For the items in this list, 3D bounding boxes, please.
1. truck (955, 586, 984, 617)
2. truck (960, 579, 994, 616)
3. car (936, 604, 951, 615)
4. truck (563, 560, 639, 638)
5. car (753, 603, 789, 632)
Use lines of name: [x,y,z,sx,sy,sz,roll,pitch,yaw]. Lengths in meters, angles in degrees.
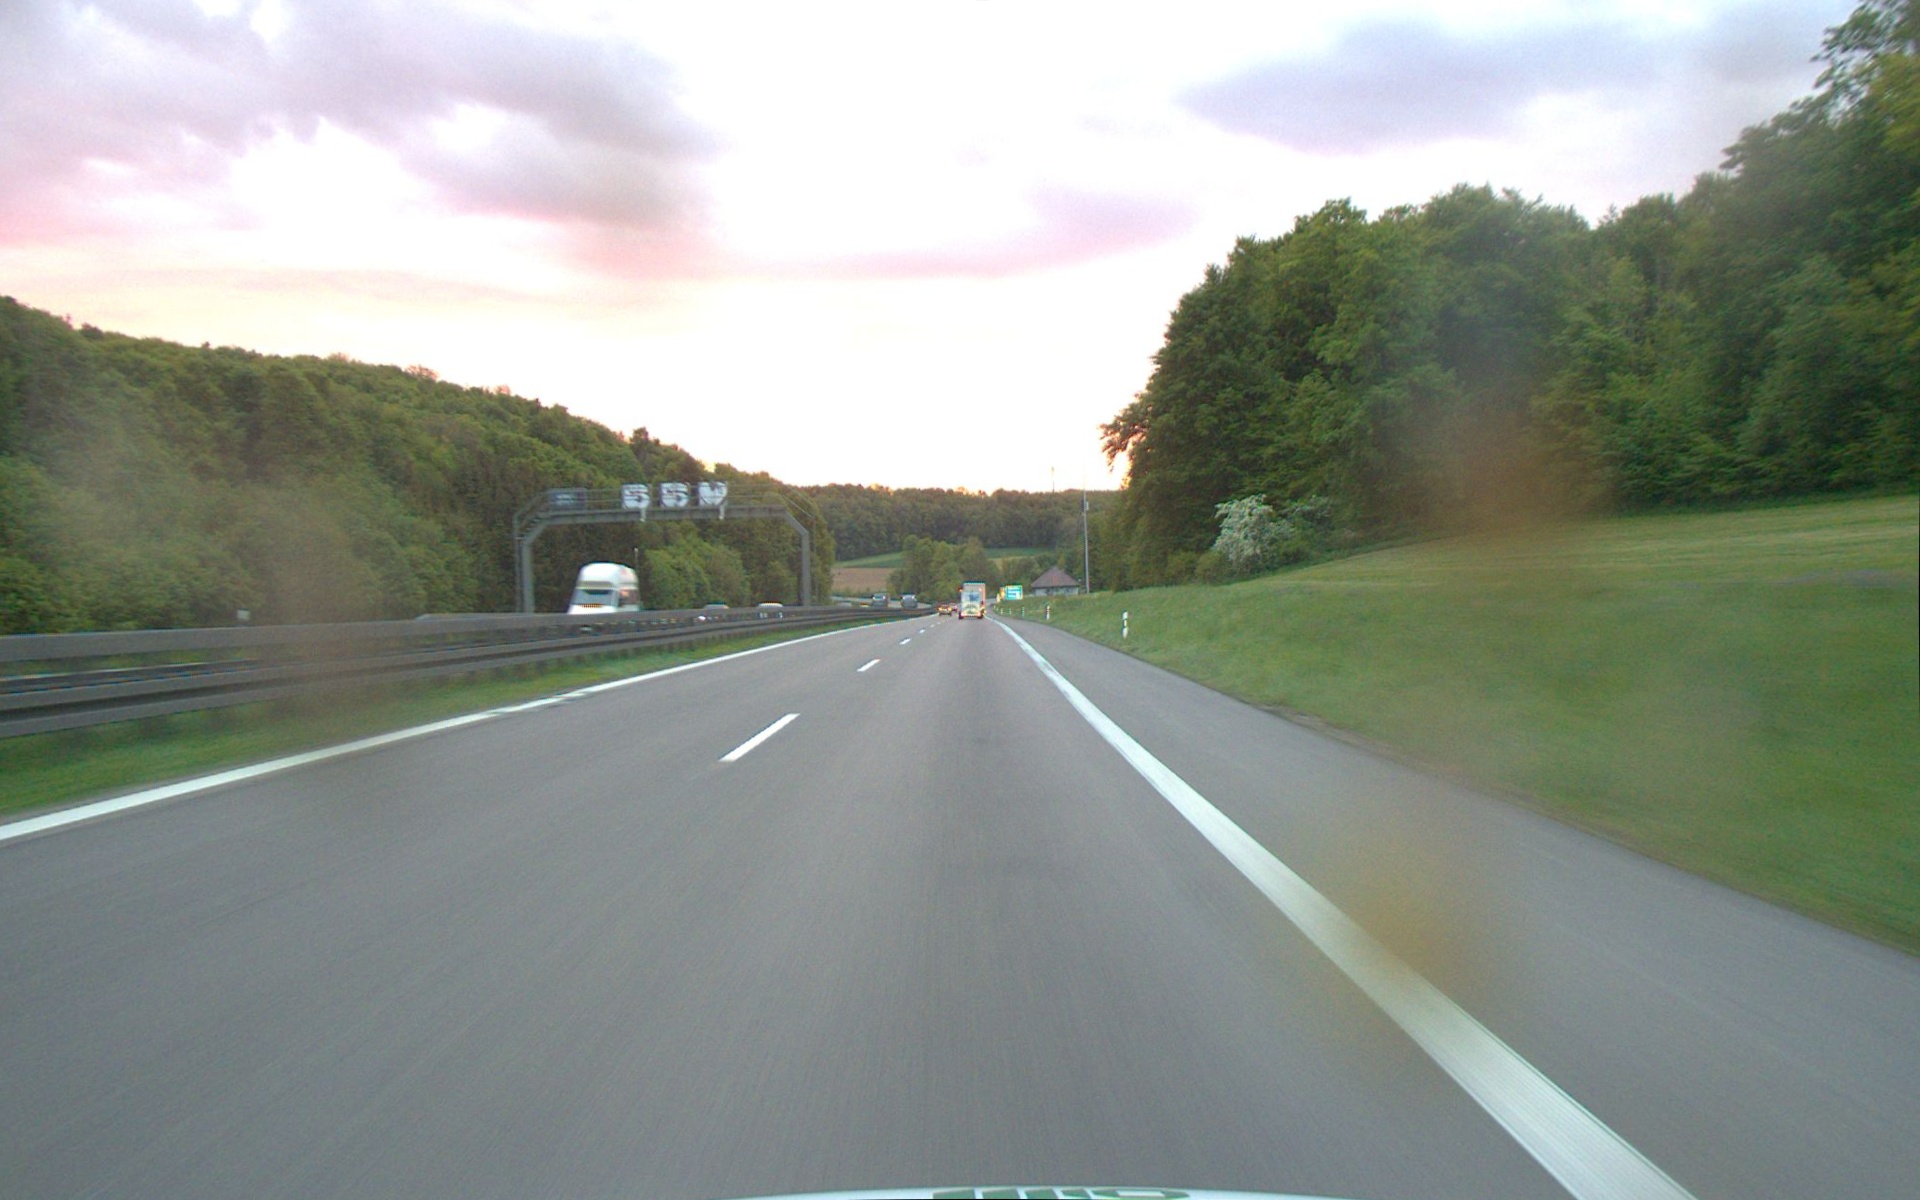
truck: [0.912,0.089,153.420,2.228,2.711,5.239,-2,0,4]
truck: [2.050,-0.387,202.327,3.877,4.361,14.324,-1,1,0]
car: [-2.303,1.314,230.080,1.953,1.543,4.000,-1,1,-1]
truck: [-14.952,-0.053,69.154,1.953,3.121,5.594,0,0,0]
car: [-10.629,0.966,93.151,1.714,1.624,3.999,0,0,-2]
